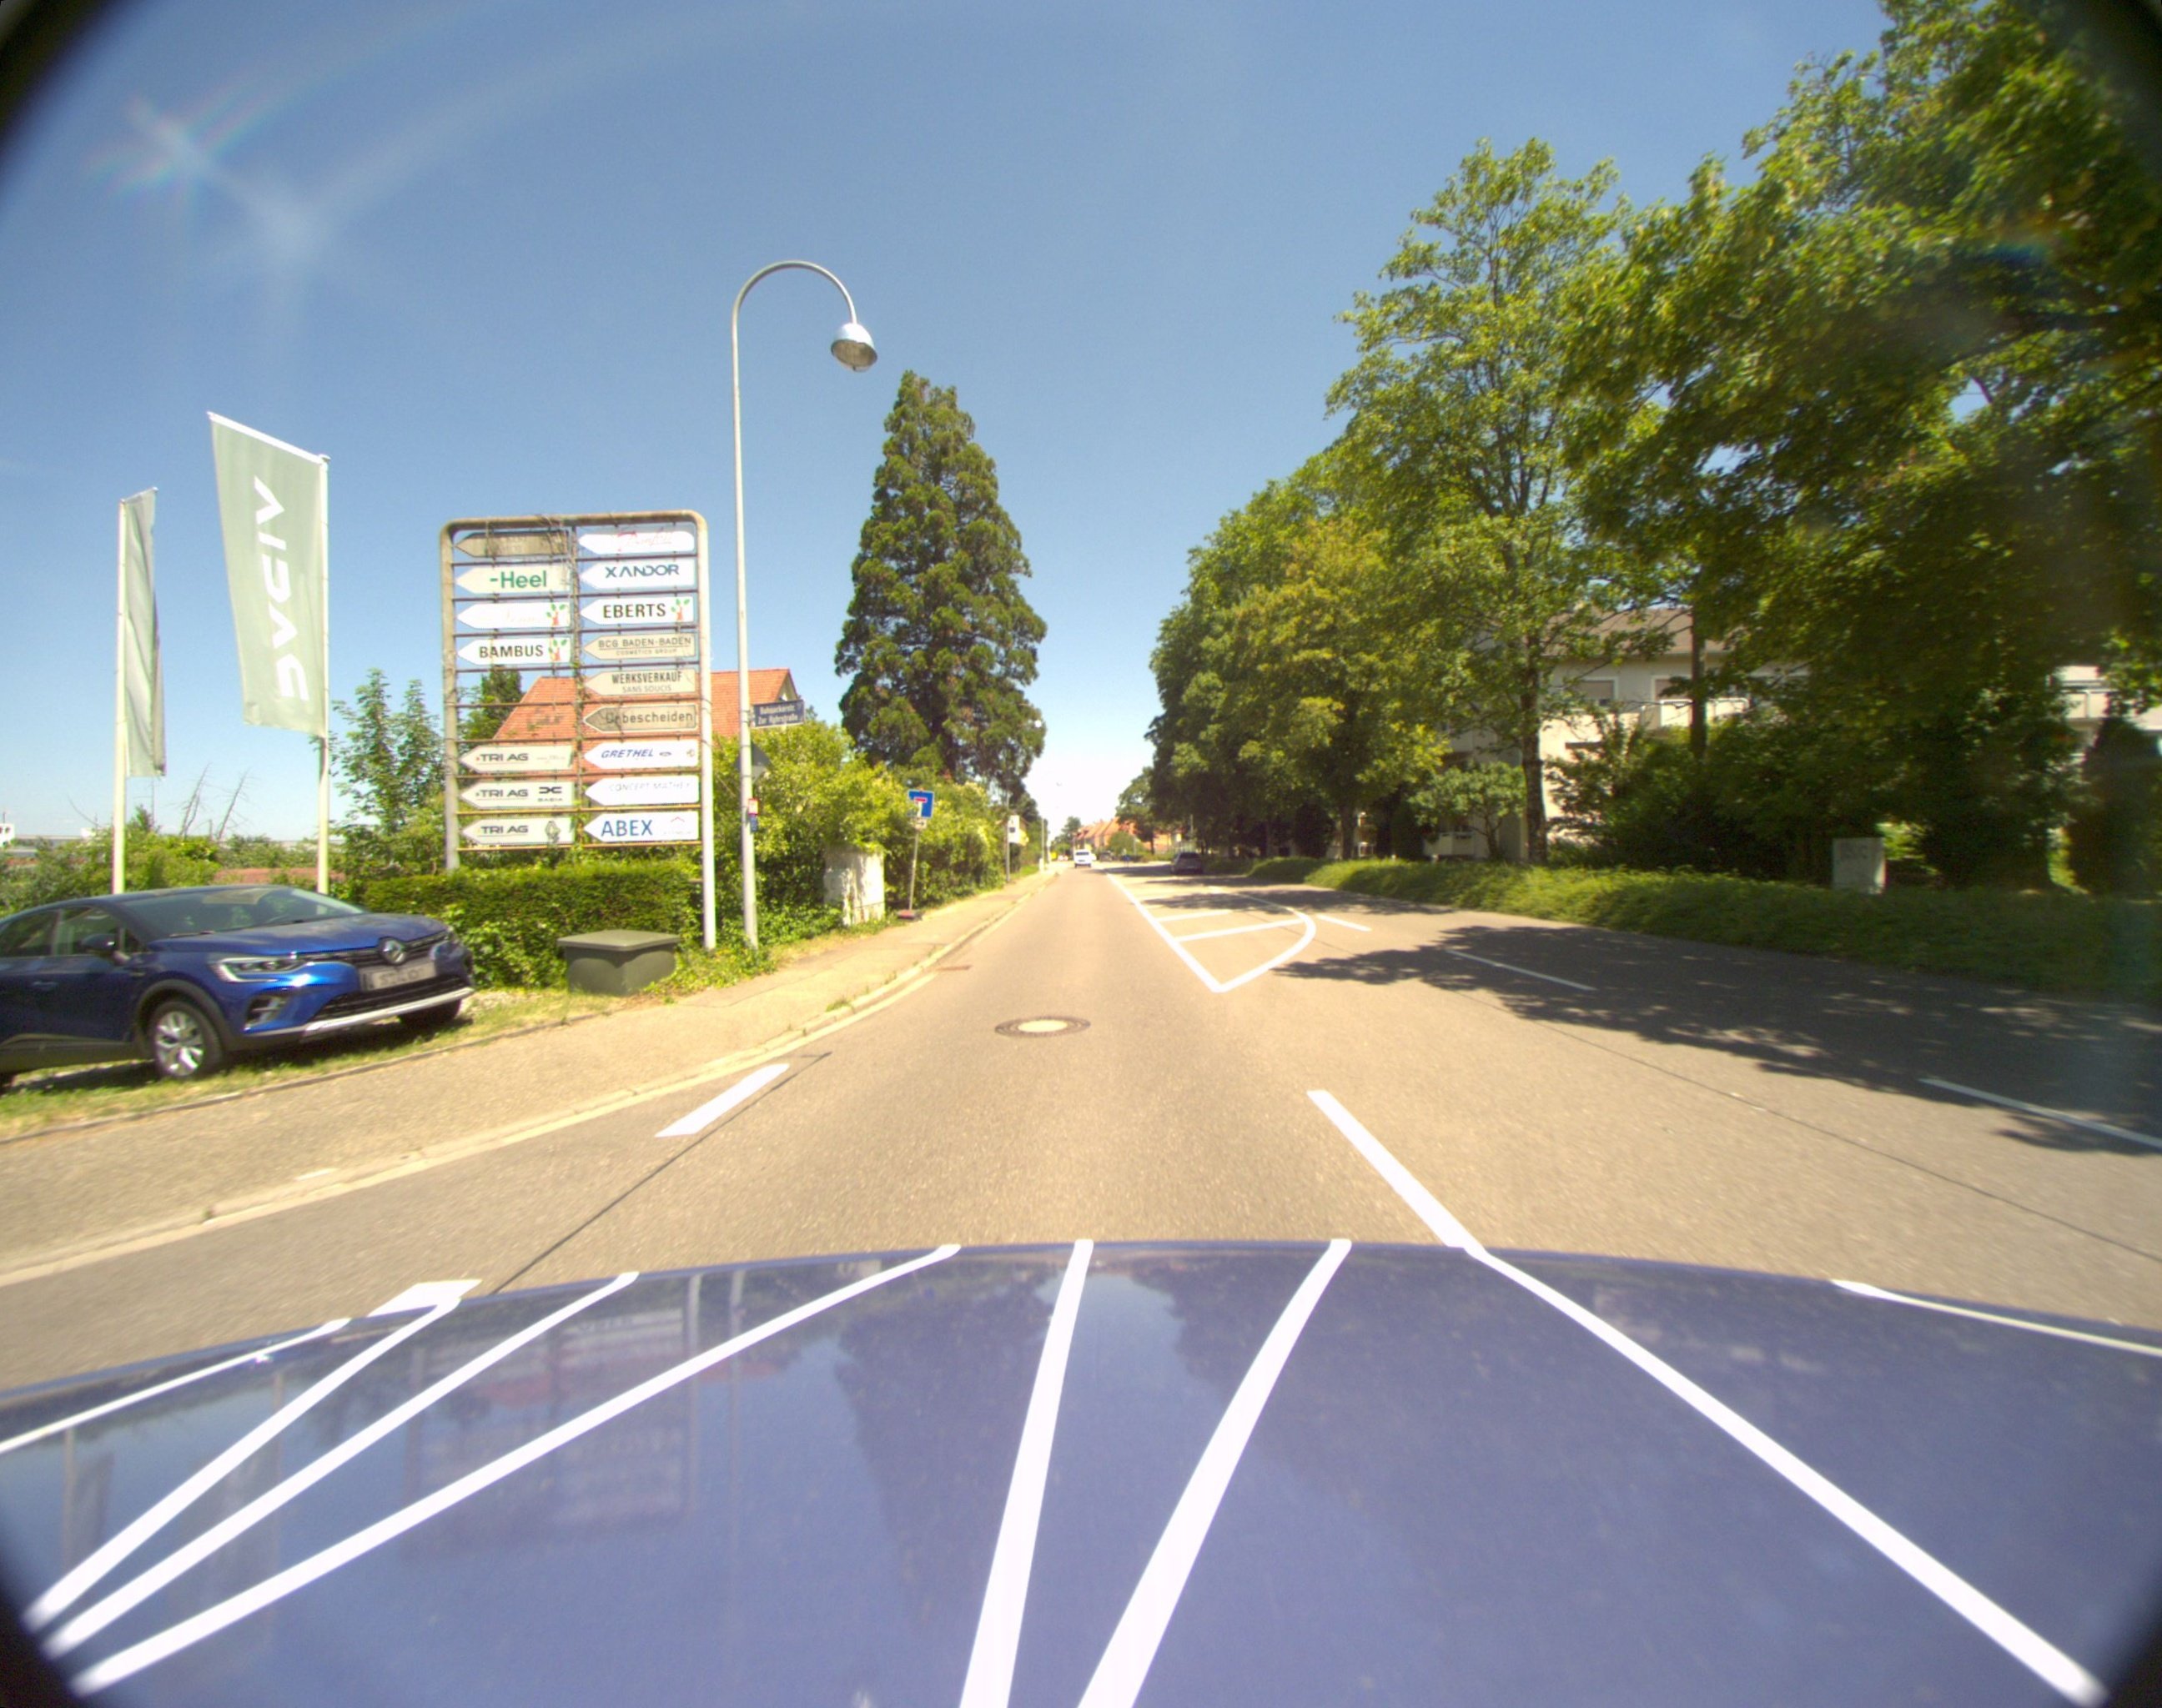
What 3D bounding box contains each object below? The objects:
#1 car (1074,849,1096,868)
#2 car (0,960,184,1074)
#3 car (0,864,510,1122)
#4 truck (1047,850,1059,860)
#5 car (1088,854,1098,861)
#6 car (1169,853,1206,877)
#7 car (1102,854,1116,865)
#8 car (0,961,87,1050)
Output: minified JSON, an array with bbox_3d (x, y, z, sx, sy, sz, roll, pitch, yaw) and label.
[{"bbox_3d":[0.391,0.510,86.165,1.999,2.002,4.385,-3,0,-5],"label":"car"},{"bbox_3d":[-16.742,2.570,11.379,1.829,1.482,4.145,-5,-3,-4],"label":"car"},{"bbox_3d":[-7.499,1.153,6.467,4.075,1.505,1.857,-8,1,13],"label":"car"},{"bbox_3d":[-7.274,0.185,194.001,2.020,2.295,6.171,-4,0,-11],"label":"truck"},{"bbox_3d":[2.584,0.683,162.776,1.695,1.451,3.639,-3,0,-3],"label":"car"},{"bbox_3d":[6.809,0.672,49.015,1.726,1.419,4.147,-3,0,-1],"label":"car"},{"bbox_3d":[5.097,0.993,138.529,1.999,1.899,4.988,-2,2,-2],"label":"car"},{"bbox_3d":[-20.278,2.793,13.112,1.739,1.498,3.435,-5,-4,0],"label":"car"}]
